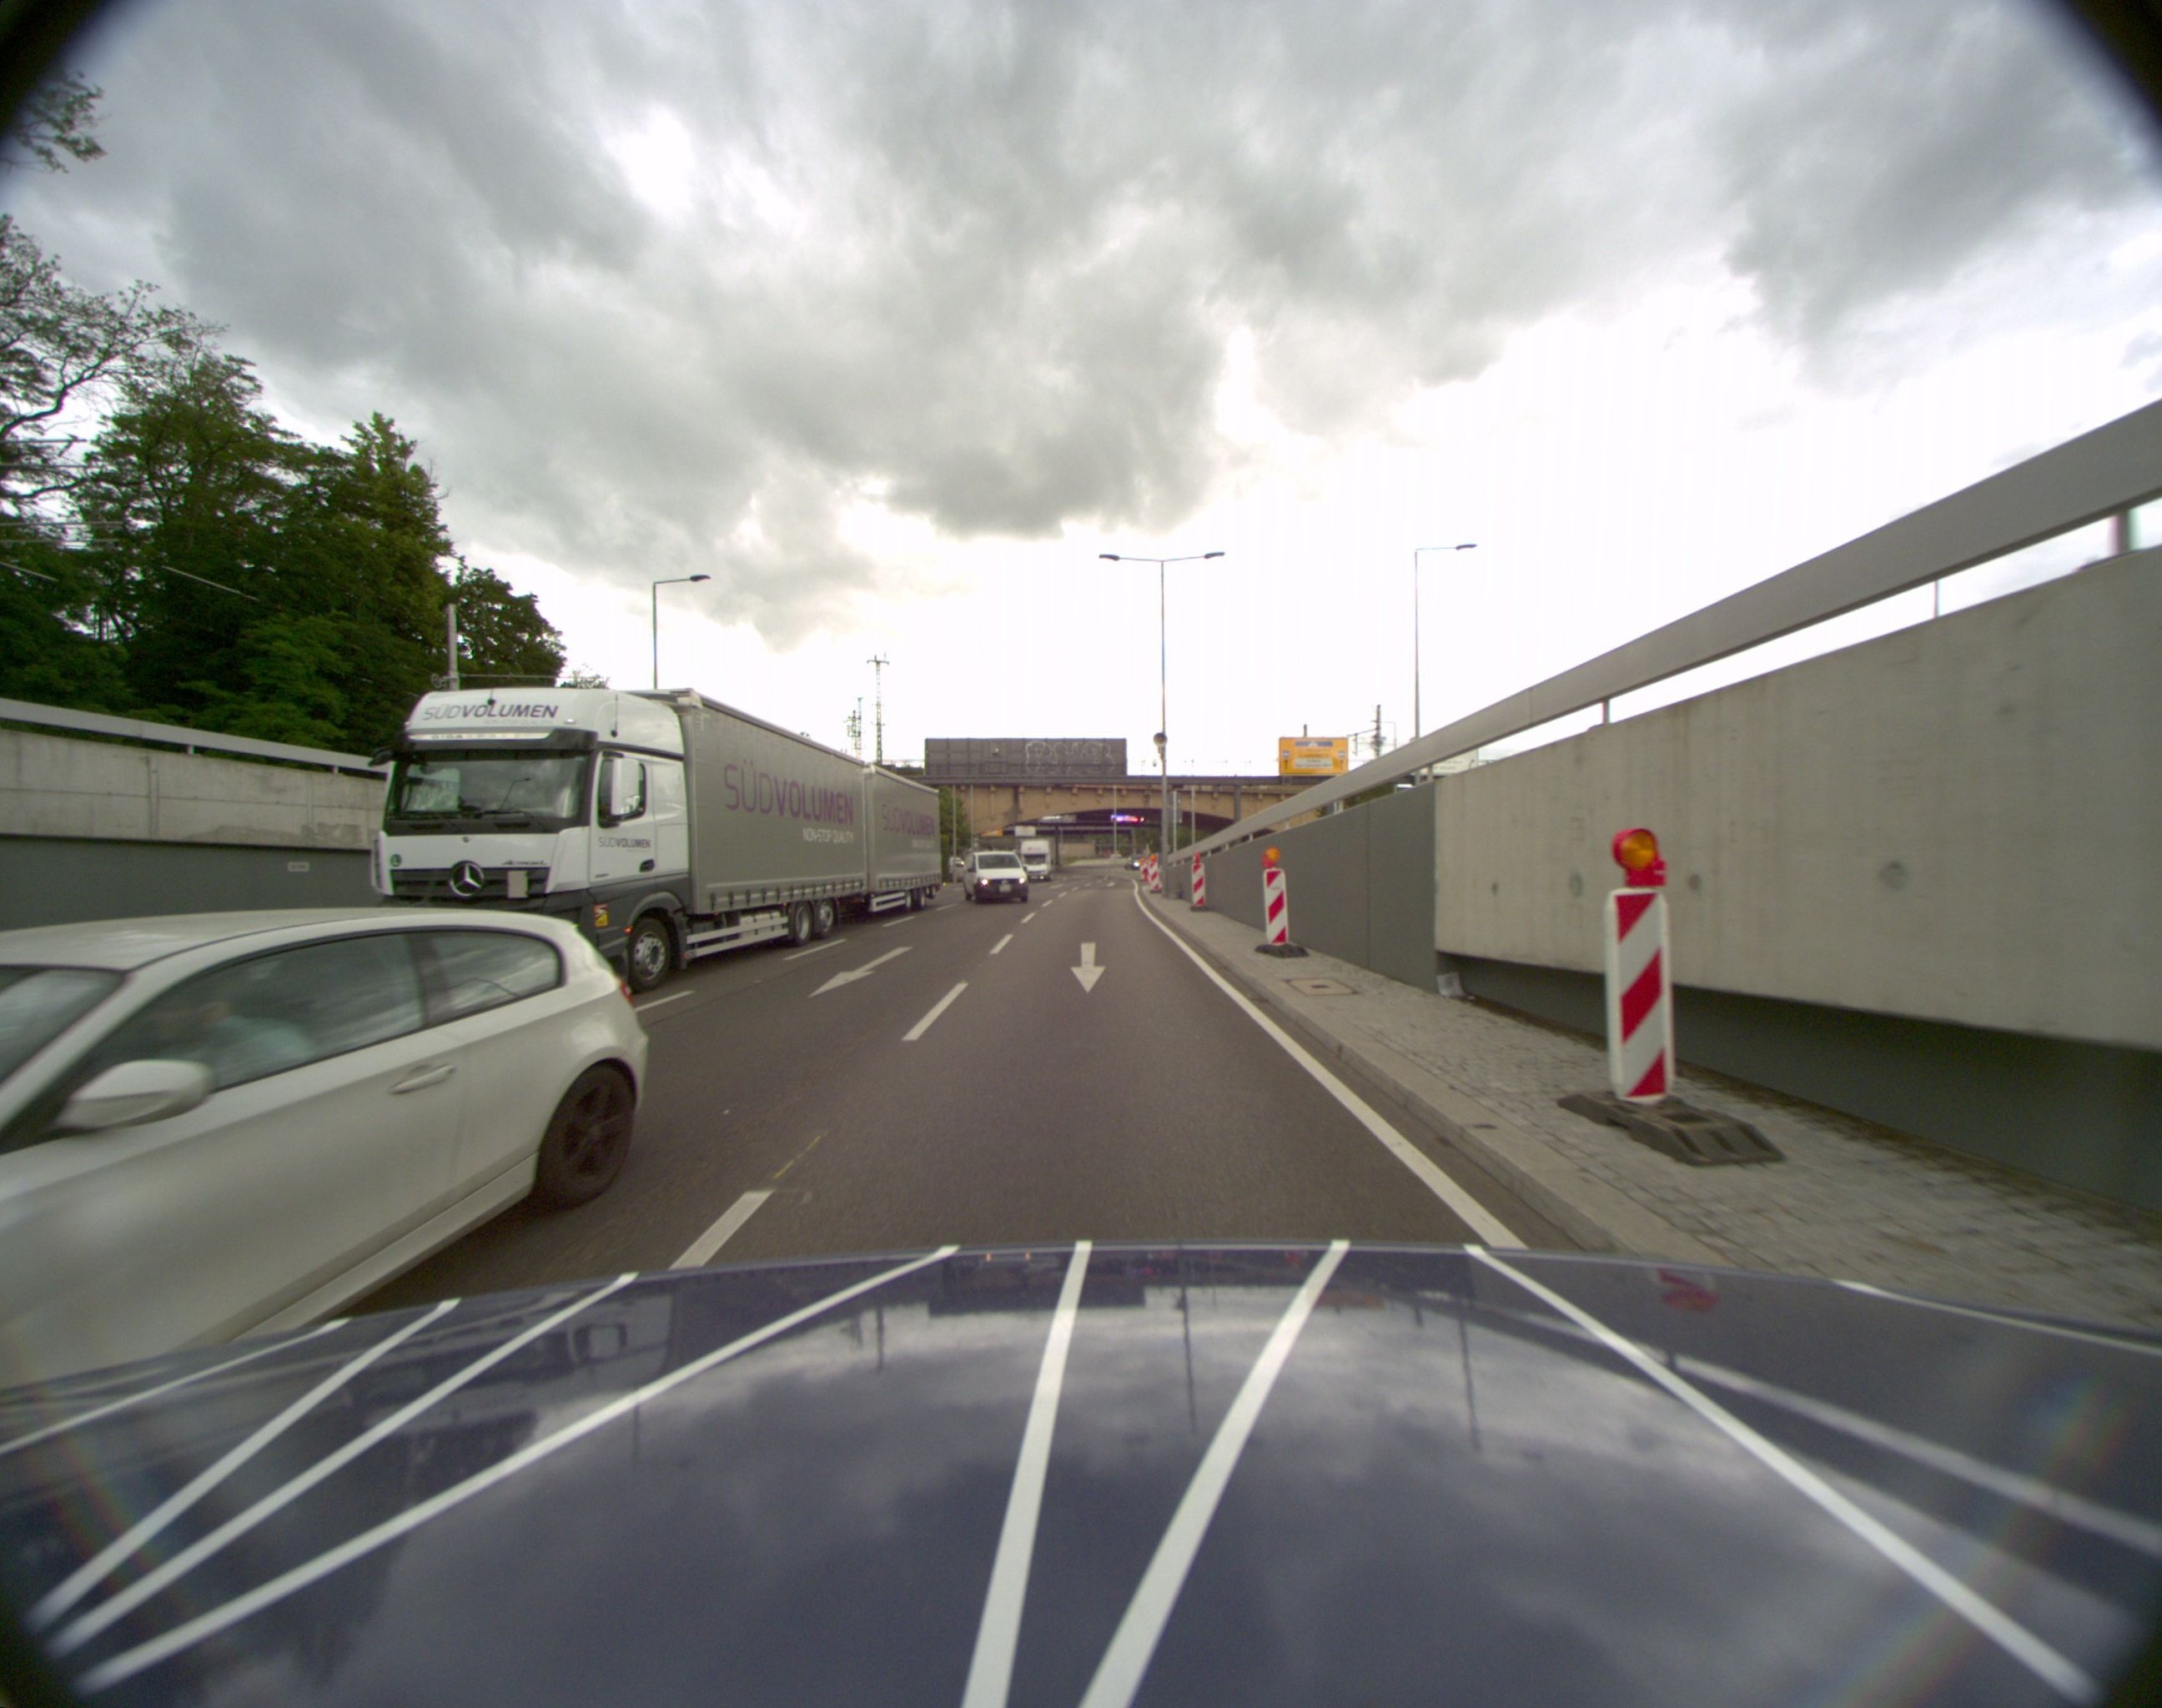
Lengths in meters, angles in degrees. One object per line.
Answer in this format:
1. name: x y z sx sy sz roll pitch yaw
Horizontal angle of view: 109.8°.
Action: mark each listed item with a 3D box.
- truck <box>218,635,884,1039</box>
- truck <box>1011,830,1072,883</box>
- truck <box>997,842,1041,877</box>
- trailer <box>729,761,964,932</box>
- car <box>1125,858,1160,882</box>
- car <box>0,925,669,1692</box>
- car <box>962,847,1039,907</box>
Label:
1. truck: -7.032 -0.194 13.526 3.733 4.117 10.983 -2 0 2
2. truck: -2.853 0.066 58.523 3.031 3.567 8.952 -5 1 6
3. truck: -6.907 0.636 83.582 2.578 3.548 9.100 -2 1 -19
4. trailer: -6.725 -0.216 24.526 3.733 4.117 10.983 -2 0 2
5. car: 5.075 1.282 63.212 1.869 1.827 4.202 -2 0 -9
6. car: -3.191 1.127 2.041 1.720 1.390 4.347 -2 0 0
7. car: -3.180 0.802 28.892 2.001 1.978 5.192 -3 1 -15
